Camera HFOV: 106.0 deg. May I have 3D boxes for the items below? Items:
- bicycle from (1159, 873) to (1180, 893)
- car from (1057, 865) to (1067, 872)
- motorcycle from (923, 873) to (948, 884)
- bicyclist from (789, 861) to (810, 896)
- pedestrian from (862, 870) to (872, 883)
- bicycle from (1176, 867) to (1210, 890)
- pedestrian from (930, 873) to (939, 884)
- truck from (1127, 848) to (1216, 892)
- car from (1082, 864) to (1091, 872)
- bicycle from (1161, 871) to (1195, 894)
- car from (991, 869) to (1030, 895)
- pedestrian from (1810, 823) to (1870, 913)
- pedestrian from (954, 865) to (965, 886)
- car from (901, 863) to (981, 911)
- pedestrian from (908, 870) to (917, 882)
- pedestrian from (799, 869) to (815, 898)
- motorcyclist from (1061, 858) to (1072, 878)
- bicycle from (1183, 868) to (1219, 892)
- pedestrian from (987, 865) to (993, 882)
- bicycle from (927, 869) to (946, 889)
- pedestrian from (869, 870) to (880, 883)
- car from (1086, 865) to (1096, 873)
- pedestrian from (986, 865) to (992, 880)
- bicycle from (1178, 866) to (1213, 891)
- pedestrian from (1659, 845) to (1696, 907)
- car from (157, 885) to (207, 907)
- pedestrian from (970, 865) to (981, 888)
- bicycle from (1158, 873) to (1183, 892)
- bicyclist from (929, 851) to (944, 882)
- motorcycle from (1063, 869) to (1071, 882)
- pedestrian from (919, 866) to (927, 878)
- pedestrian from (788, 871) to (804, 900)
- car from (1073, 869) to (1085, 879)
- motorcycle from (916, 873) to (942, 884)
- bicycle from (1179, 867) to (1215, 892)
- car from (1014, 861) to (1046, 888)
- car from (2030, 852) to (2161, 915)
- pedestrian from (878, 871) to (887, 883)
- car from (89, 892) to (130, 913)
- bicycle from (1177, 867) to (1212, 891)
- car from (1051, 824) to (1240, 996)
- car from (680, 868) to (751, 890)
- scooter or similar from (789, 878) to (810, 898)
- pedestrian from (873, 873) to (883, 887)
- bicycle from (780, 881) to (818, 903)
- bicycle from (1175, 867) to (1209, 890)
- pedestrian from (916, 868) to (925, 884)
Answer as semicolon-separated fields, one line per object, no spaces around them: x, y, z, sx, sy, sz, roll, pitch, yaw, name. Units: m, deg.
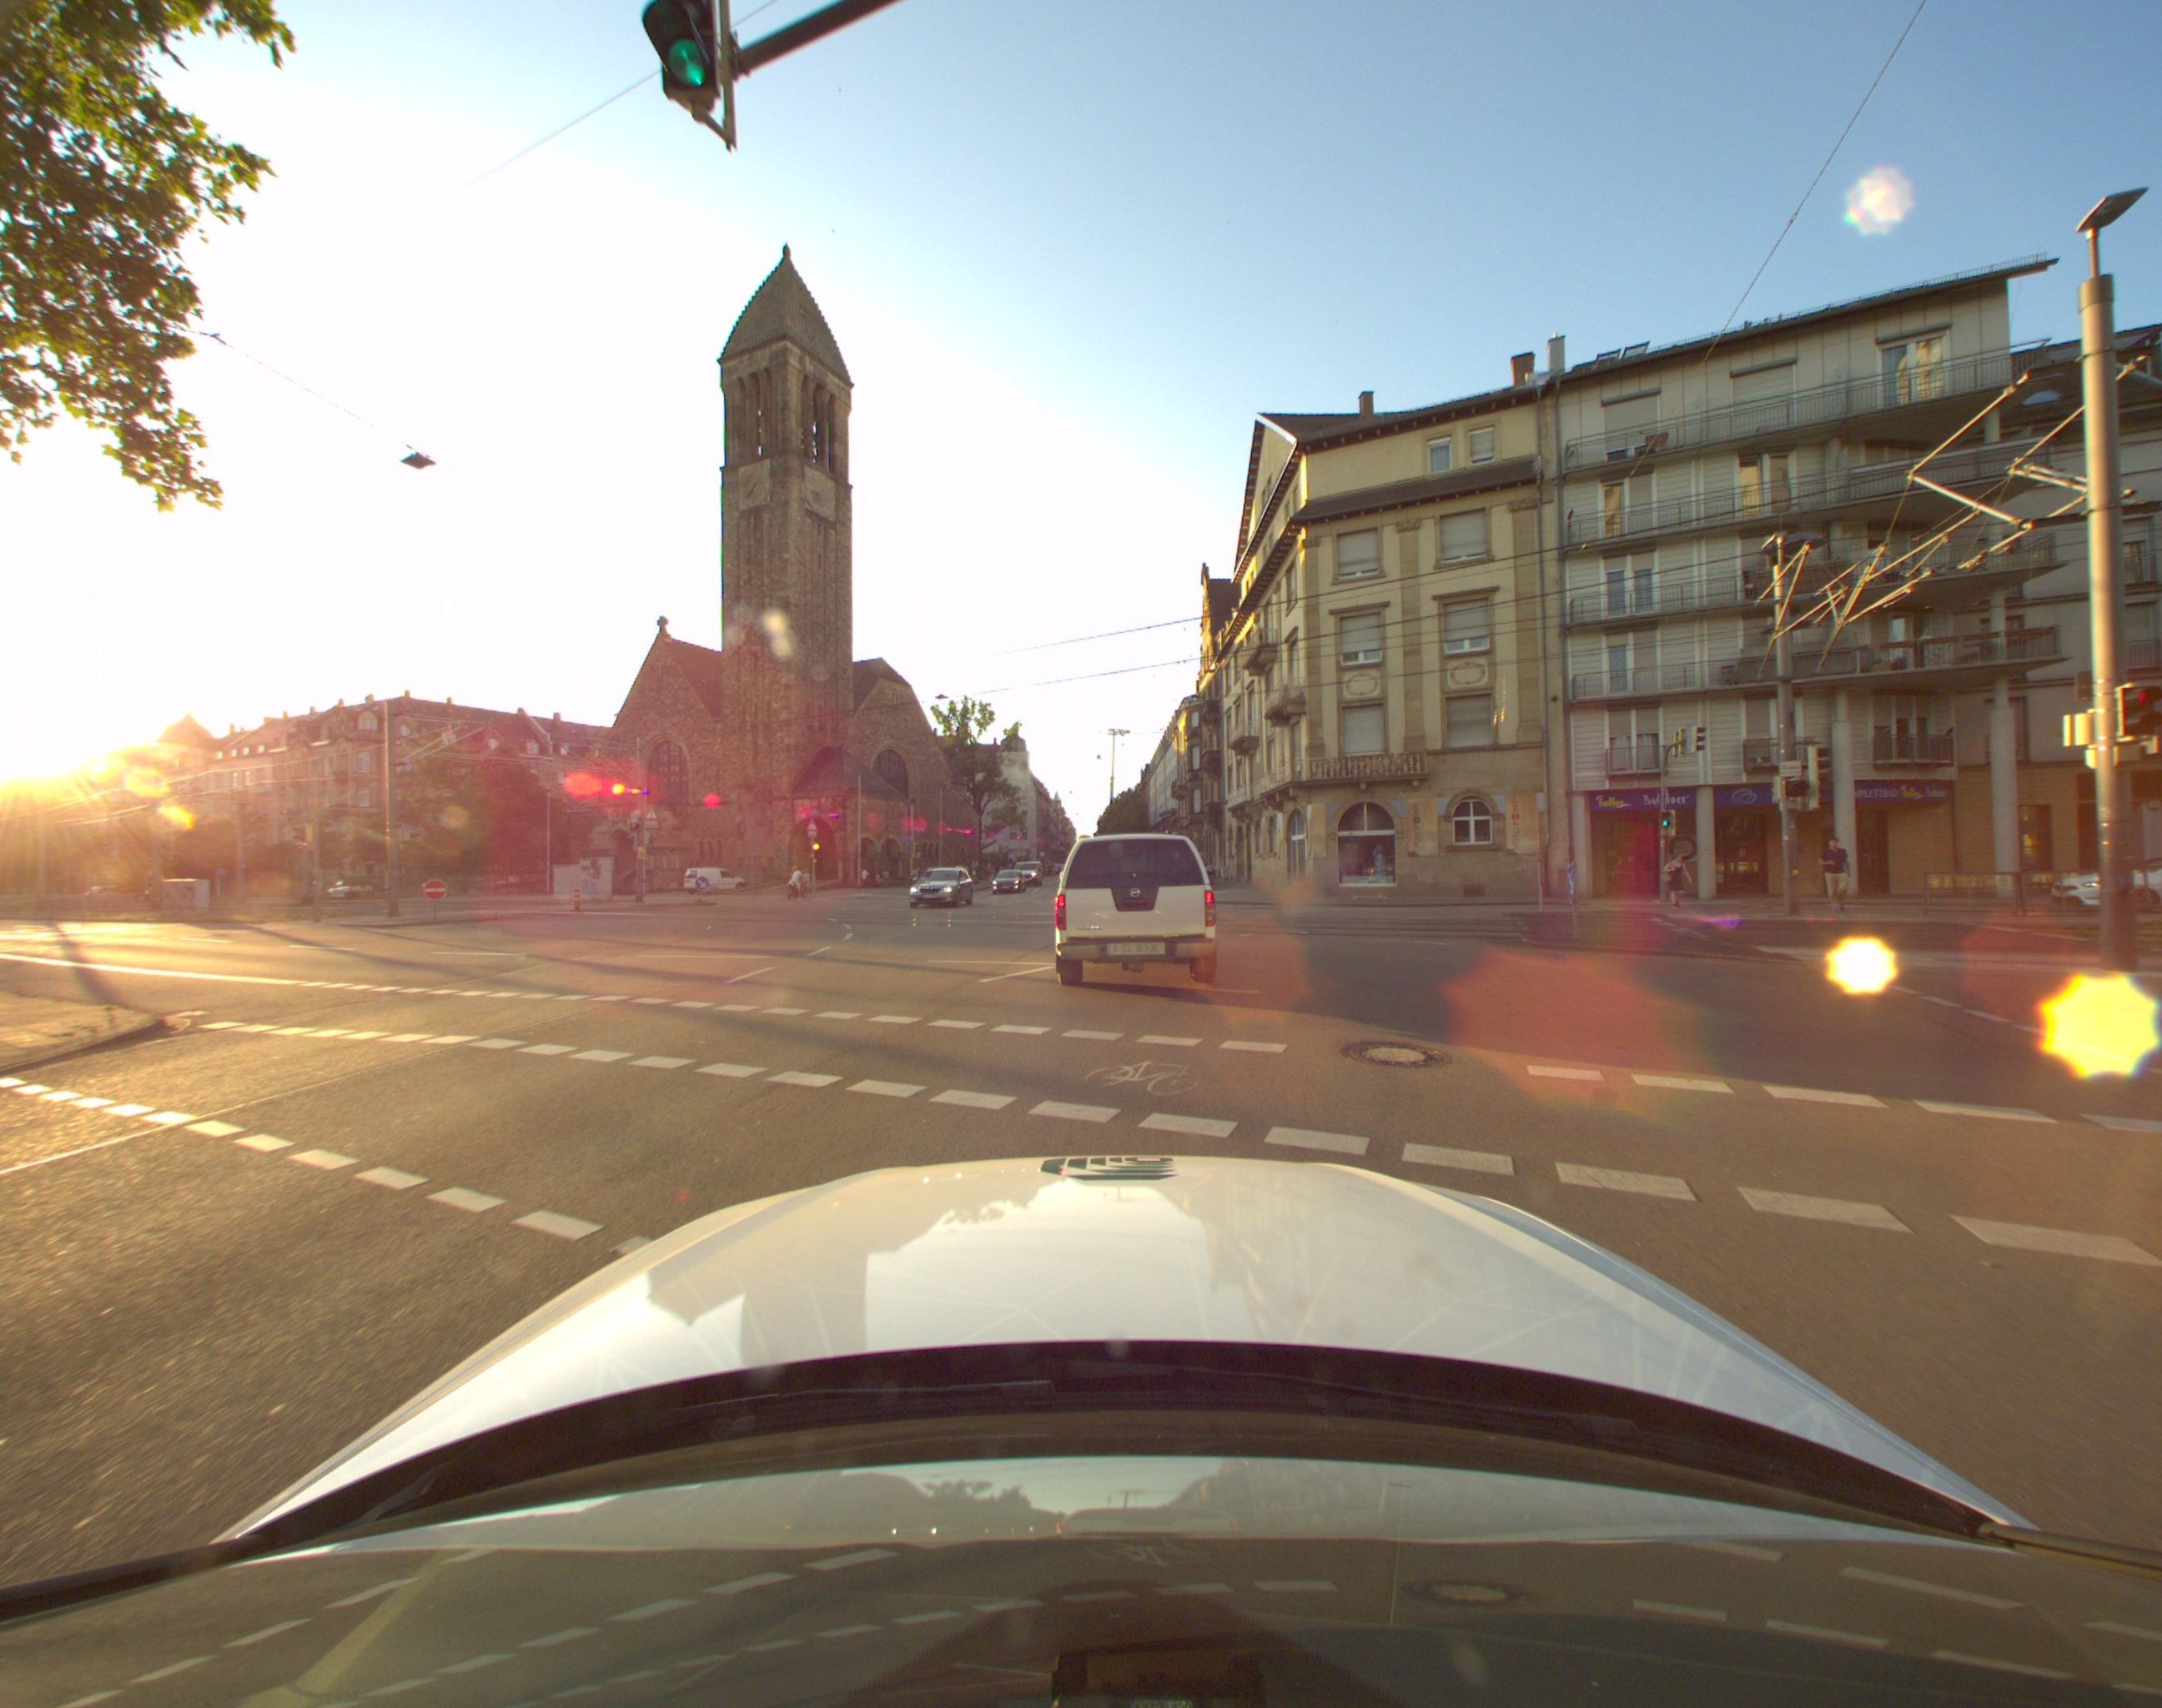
4.945;1.627;45.569;1.073;1.024;0.317;-4;-2;0;bicycle
-3.896;2.940;166.984;1.851;1.529;4.001;0;-1;2;car
-13.674;2.301;76.477;2.239;0.988;0.707;0;-1;-4;motorcycle
-14.990;1.296;43.381;0.651;1.827;0.863;-1;0;19;bicyclist
-15.178;1.592;57.769;0.517;0.960;0.482;-1;-2;22;pedestrian
6.495;1.412;47.151;1.812;1.238;0.410;-4;-2;0;bicycle
-13.427;2.217;74.518;0.547;0.960;0.713;-1;-2;23;pedestrian
5.708;0.967;50.774;5.703;2.565;2.260;0;-1;-41;truck
1.165;2.893;169.166;1.915;1.529;3.999;0;-1;0;car
5.325;1.561;44.671;1.721;1.083;0.317;-4;-2;0;bicycle
-4.385;1.755;51.262;1.986;1.477;4.140;-2;-1;1;car
19.141;0.355;20.566;0.811;2.209;0.875;-1;-2;23;pedestrian
-9.798;1.714;65.657;0.809;1.670;0.859;0;-2;0;pedestrian
-5.191;1.191;30.892;1.985;1.558;4.772;-2;0;3;car
-13.041;1.702;63.127;0.517;0.960;0.482;-1;-2;20;pedestrian
-16.147;1.743;47.960;0.629;1.698;0.605;-1;-2;13;pedestrian
-1.209;1.176;67.321;0.871;1.645;0.963;0;-2;1;motorcyclist
6.490;1.419;44.164;1.812;1.150;0.636;-4;-2;0;bicycle
-9.874;2.085;88.459;0.643;1.855;0.559;0;-2;-12;pedestrian
-7.737;1.350;43.596;0.597;1.043;1.946;0;-1;1;bicycle
-14.571;1.583;57.470;0.517;0.960;0.482;-1;-2;22;pedestrian
1.894;2.936;158.814;1.851;1.529;4.001;0;-1;2;car
-10.085;2.021;89.309;0.559;1.695;0.643;0;-2;-5;pedestrian
6.538;1.398;46.543;1.812;1.238;0.412;-4;-2;0;bicycle
17.392;0.650;23.760;0.779;1.779;0.546;-1;-2;28;pedestrian
-88.615;4.113;80.276;3.952;2.014;2.010;-1;-2;22;car
-8.502;1.817;65.676;0.809;1.901;0.666;0;-2;0;pedestrian
5.147;1.640;46.821;1.329;1.024;0.317;-4;-2;0;bicycle
-7.710;0.679;43.594;0.597;1.645;0.963;0;-2;1;bicyclist
-1.153;1.758;67.241;0.597;1.043;1.946;0;-1;1;motorcycle
-12.219;1.409;62.974;0.522;0.960;0.477;0;-2;-13;pedestrian
-16.818;1.881;48.086;0.629;1.698;0.605;-1;-2;15;pedestrian
-0.341;3.369;137.234;1.852;1.529;4.000;0;-1;1;car
-13.864;2.257;74.455;2.239;0.988;0.707;0;-1;-4;motorcycle
6.409;1.396;45.109;1.812;1.238;0.488;-4;-2;0;bicycle
-3.988;1.636;64.485;1.986;2.014;4.951;-2;-1;1;car
26.358;0.694;19.740;3.950;1.486;1.860;-1;-2;27;car
-16.683;1.933;68.471;0.550;0.960;0.708;0;-1;-4;pedestrian
-103.089;5.117;86.405;3.949;2.014;2.012;-1;-2;29;car
6.404;1.417;45.821;1.812;1.238;0.478;-4;-2;0;bicycle
0.773;0.635;10.628;1.985;1.809;4.002;0;-1;3;car
-25.861;1.771;57.771;1.698;1.517;4.482;-1;-1;27;car
-16.254;1.957;47.083;0.629;1.103;1.082;-1;-1;13;scooter or similar
-14.640;1.884;58.639;0.473;0.960;0.526;-1;-2;32;pedestrian
-14.987;2.002;43.340;0.651;1.078;2.256;-1;-1;19;bicycle
6.476;1.426;47.683;1.849;1.238;0.531;-4;-2;0;bicycle
-12.750;1.740;64.824;0.474;1.245;0.526;-1;-2;20;pedestrian
